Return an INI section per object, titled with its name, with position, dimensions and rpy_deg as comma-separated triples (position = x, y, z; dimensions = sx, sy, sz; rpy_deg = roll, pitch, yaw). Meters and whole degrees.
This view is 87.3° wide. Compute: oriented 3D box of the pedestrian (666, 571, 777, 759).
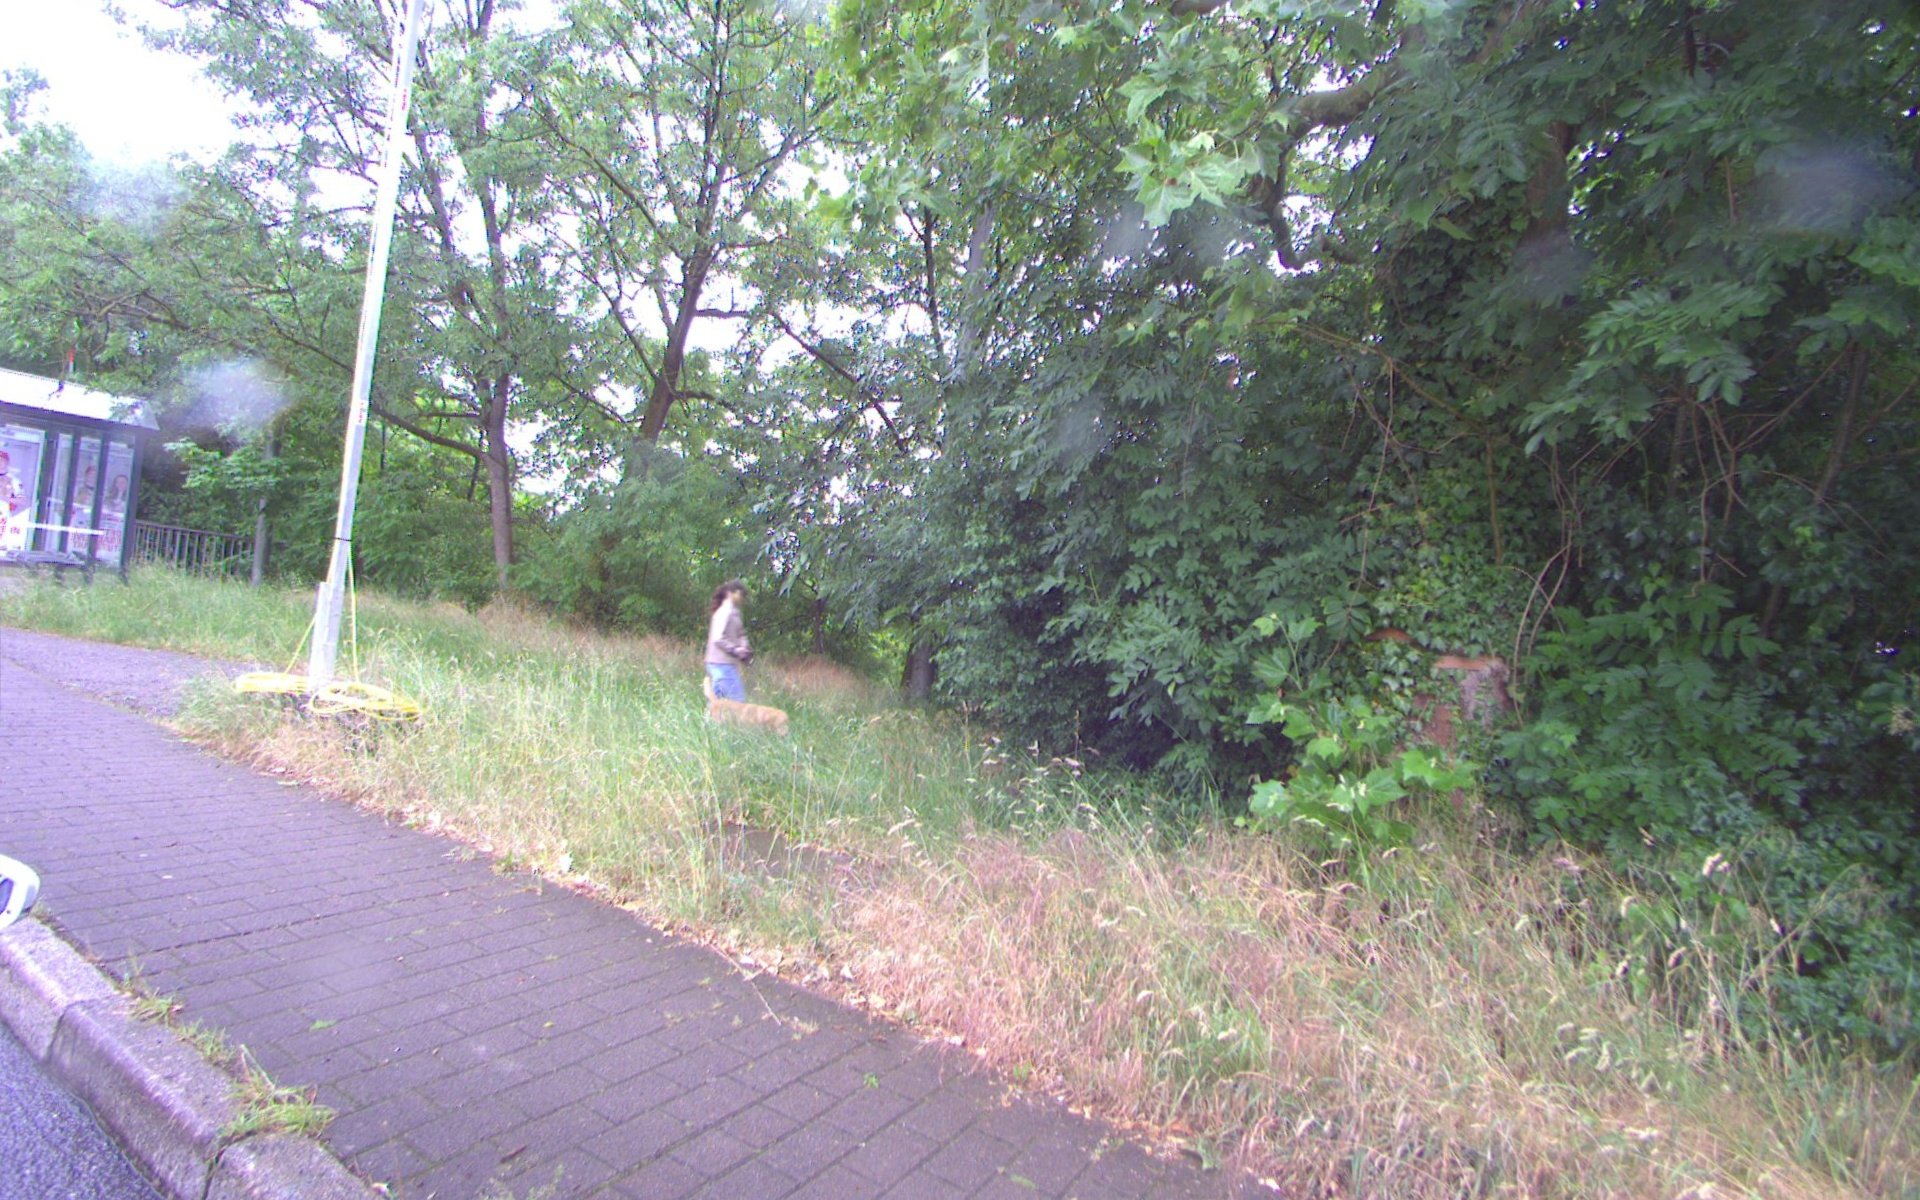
[pedestrian]
position = -2.248, 0.597, 9.446
dimensions = 0.742, 1.622, 0.729
rpy_deg = 7, -1, -21
